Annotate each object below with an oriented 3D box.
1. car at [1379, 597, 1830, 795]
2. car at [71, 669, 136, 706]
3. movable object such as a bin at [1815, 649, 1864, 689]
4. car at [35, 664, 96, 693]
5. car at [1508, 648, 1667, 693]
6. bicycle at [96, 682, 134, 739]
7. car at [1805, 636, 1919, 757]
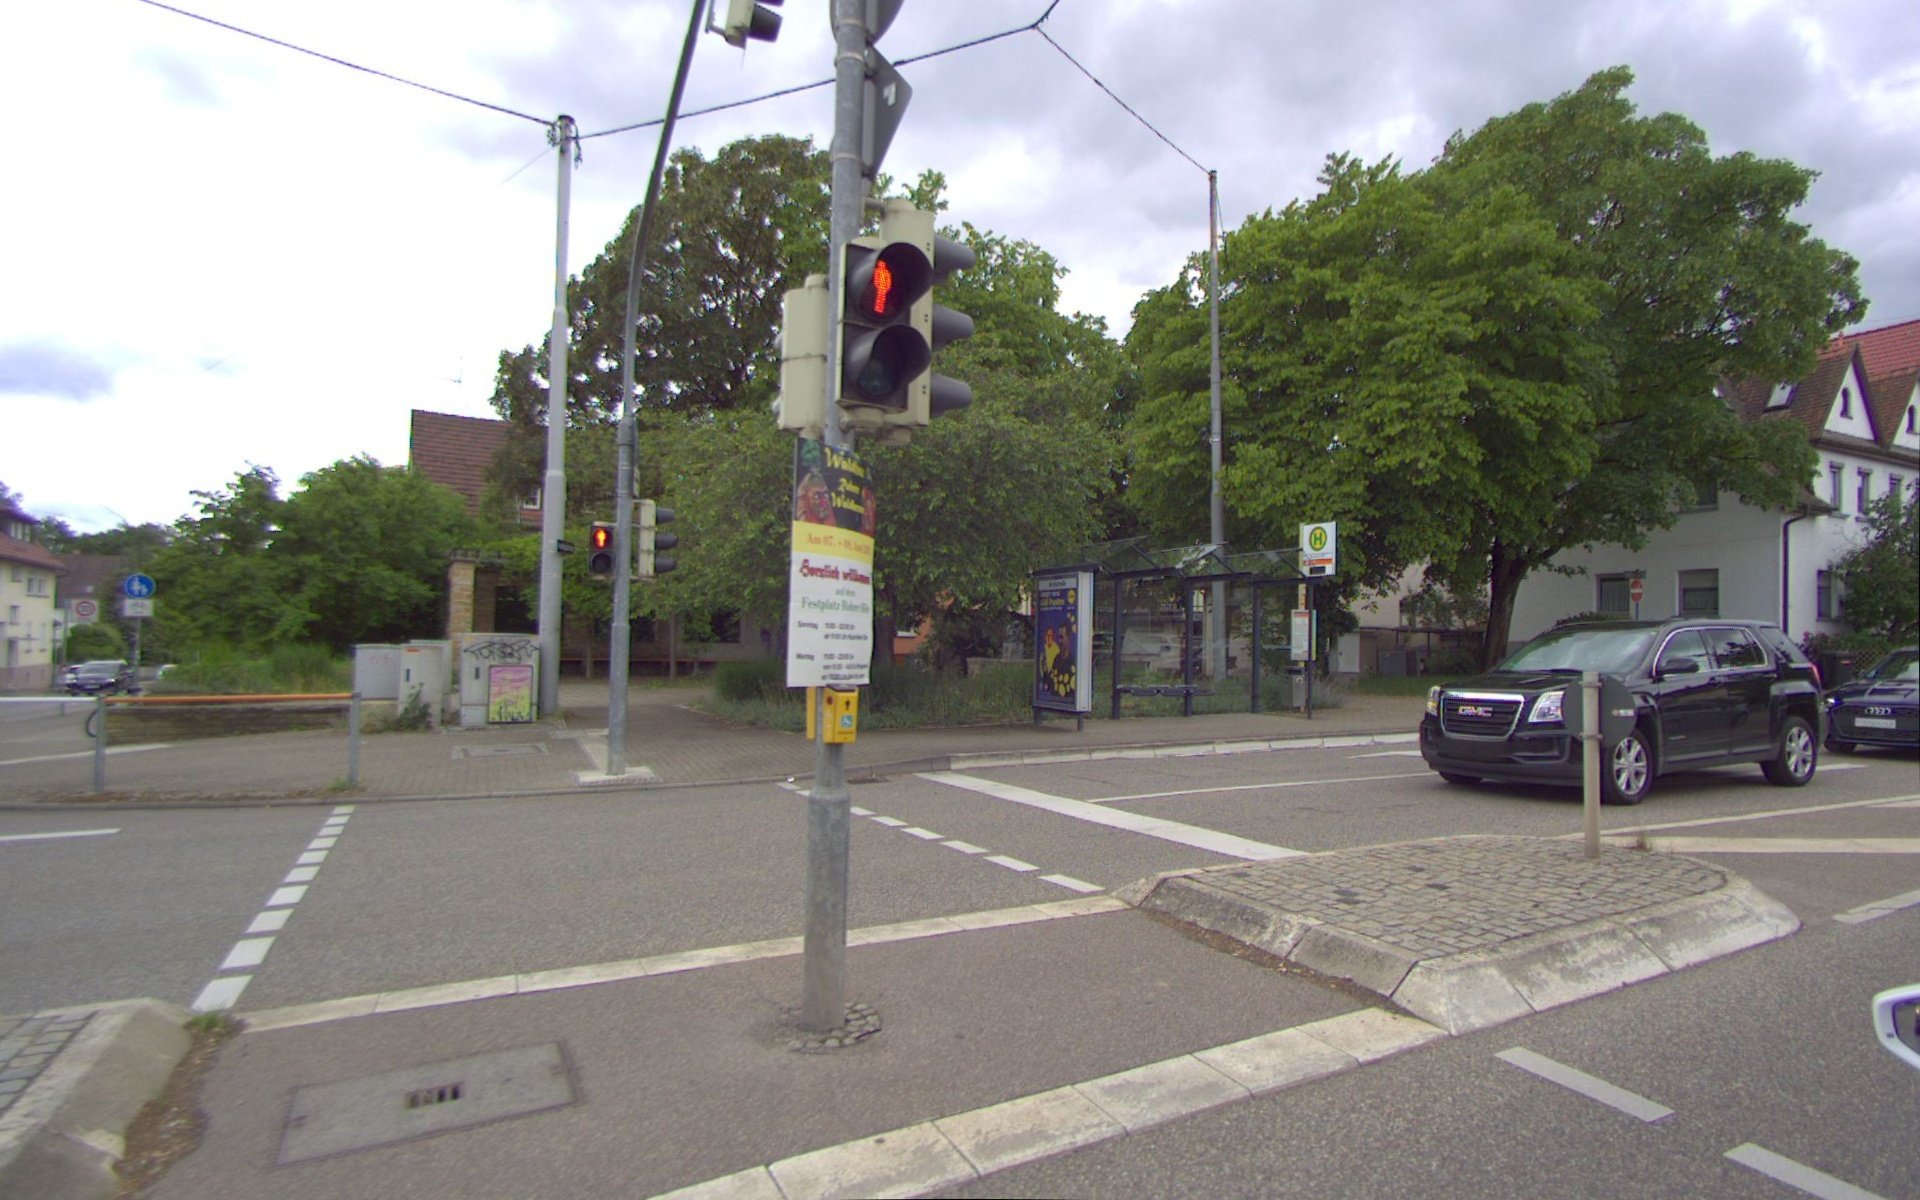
[{"bbox_3d":[6.594,0.942,10.215,4.535,1.656,1.753,2,-4,-26],"label":"car"},{"bbox_3d":[-41.038,4.155,48.205,1.723,1.537,3.966,1,-2,-32],"label":"car"},{"bbox_3d":[23.795,1.861,27.194,0.708,1.033,0.720,0,1,7],"label":"movable object such as a bin"},{"bbox_3d":[-49.448,4.303,55.607,1.774,1.480,4.379,0,-3,-32],"label":"car"},{"bbox_3d":[19.741,2.244,31.786,1.700,1.349,3.974,2,-5,-27],"label":"car"},{"bbox_3d":[-14.835,1.933,17.632,0.422,0.954,1.302,2,-6,-42],"label":"bicycle"},{"bbox_3d":[13.133,1.238,13.253,4.077,1.438,1.559,2,-3,-27],"label":"car"}]
